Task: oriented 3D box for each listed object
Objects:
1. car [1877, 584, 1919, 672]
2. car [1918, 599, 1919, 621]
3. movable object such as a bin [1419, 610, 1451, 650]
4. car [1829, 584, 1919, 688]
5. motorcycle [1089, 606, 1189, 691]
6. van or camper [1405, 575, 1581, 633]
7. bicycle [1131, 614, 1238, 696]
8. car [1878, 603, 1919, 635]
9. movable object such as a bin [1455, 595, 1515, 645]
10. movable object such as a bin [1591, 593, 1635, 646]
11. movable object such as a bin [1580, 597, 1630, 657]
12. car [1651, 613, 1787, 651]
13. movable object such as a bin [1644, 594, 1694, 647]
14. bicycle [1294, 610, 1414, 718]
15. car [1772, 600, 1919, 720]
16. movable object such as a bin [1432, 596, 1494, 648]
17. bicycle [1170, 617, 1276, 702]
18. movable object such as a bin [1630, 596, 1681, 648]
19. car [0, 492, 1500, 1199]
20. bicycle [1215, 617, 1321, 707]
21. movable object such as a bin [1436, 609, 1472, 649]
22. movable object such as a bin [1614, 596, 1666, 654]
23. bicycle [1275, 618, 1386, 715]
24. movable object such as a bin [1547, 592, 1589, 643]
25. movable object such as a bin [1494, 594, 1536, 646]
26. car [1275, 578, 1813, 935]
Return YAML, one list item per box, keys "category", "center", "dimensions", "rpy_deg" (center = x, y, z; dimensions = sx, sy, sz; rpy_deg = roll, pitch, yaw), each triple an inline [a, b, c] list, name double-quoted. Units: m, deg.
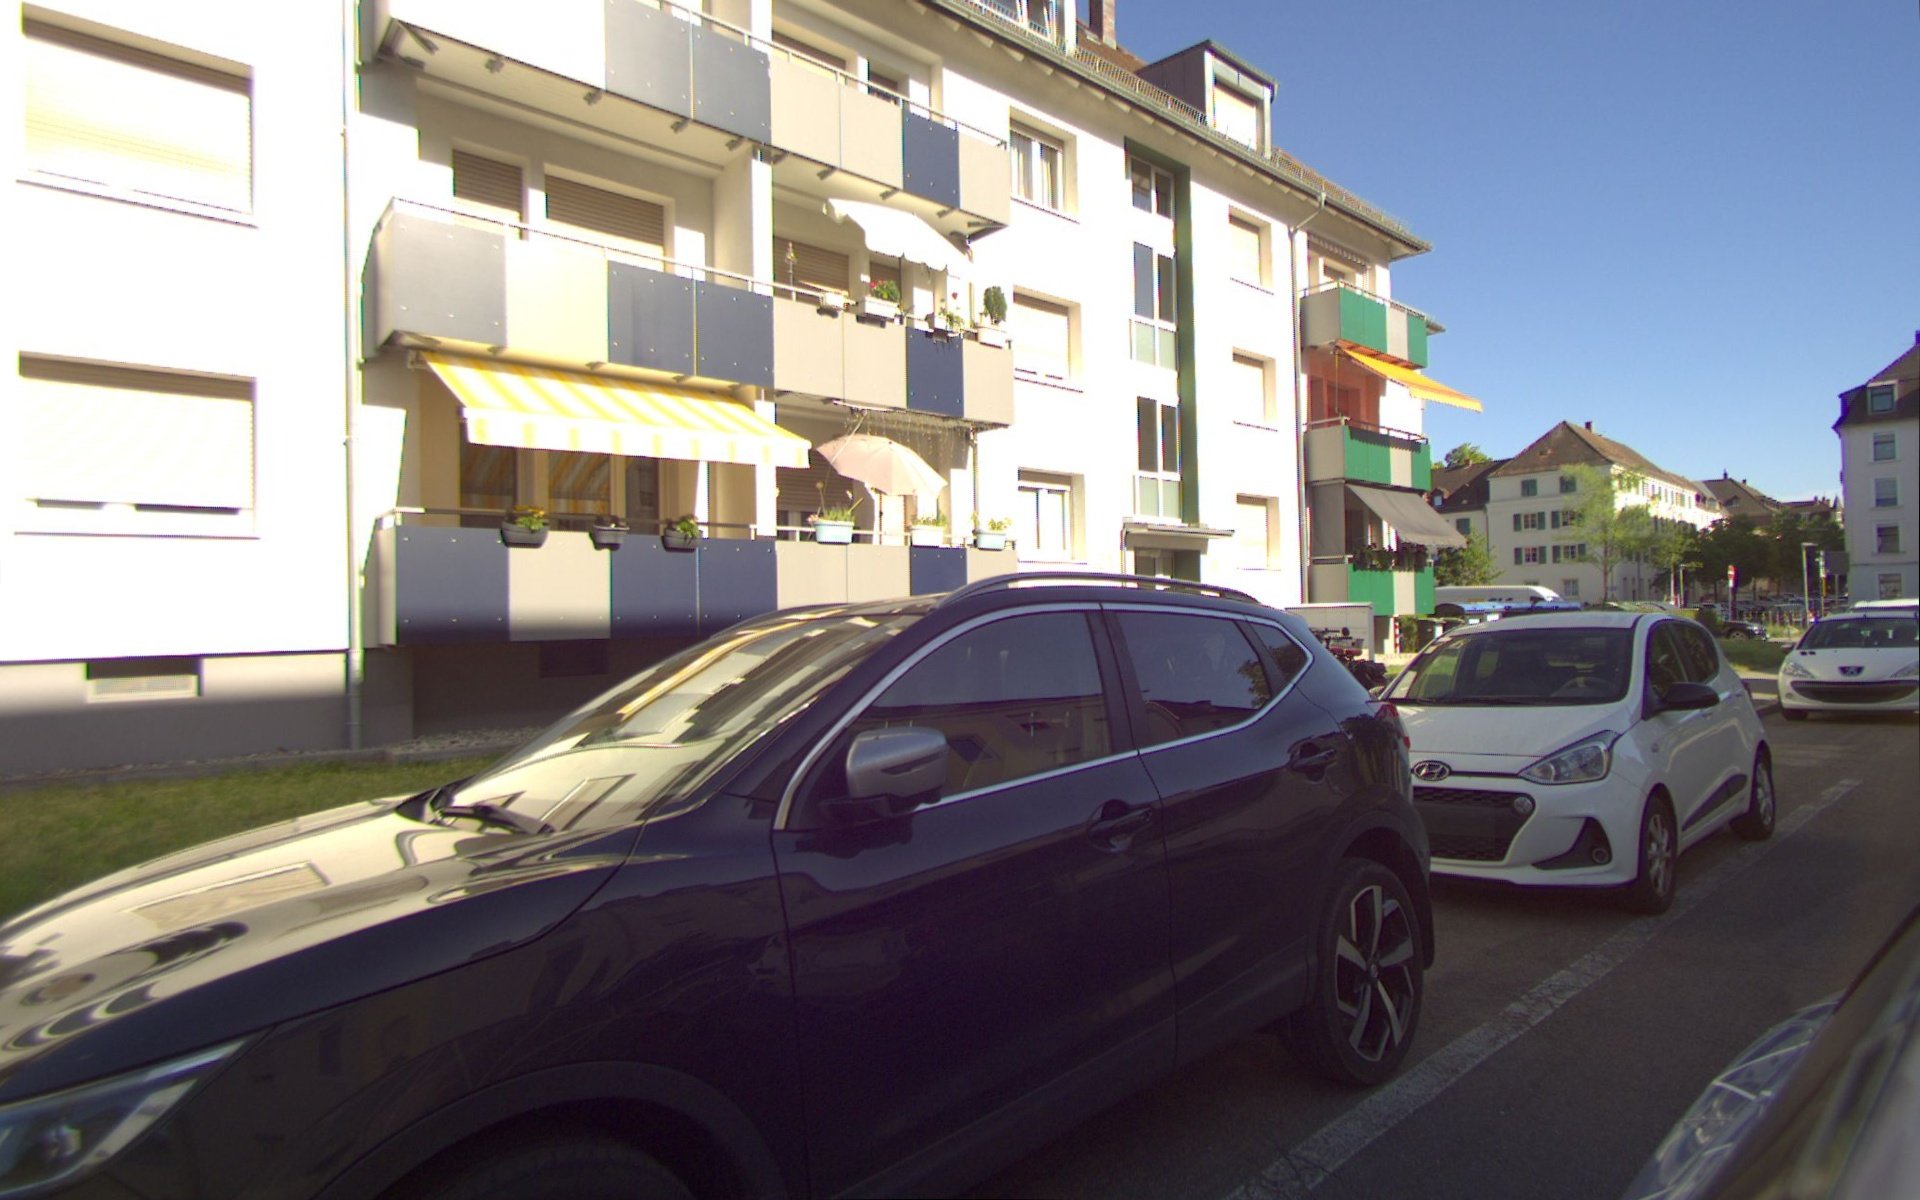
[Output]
- category: "car"
  center: [21.796, 0.534, 22.267]
  dimensions: [4.181, 1.824, 1.852]
  rpy_deg: [0, -5, -42]
- category: "car"
  center: [25.945, 0.696, 25.914]
  dimensions: [3.885, 1.557, 1.725]
  rpy_deg: [0, -4, -43]
- category: "movable object such as a bin"
  center: [13.247, 0.825, 28.210]
  dimensions: [0.570, 1.066, 0.627]
  rpy_deg: [0, 2, -43]
- category: "car"
  center: [16.604, 0.556, 17.468]
  dimensions: [4.503, 1.613, 1.802]
  rpy_deg: [0, -3, -42]
- category: "motorcycle"
  center: [2.851, 0.738, 15.988]
  dimensions: [1.942, 1.254, 0.442]
  rpy_deg: [0, 0, -41]
- category: "van or camper"
  center: [24.714, 0.182, 47.244]
  dimensions: [2.137, 2.532, 6.979]
  rpy_deg: [0, 0, -39]
- category: "bicycle"
  center: [3.365, 0.790, 15.108]
  dimensions: [1.841, 1.130, 0.597]
  rpy_deg: [0, -1, -42]
- category: "car"
  center: [46.484, 0.892, 49.228]
  dimensions: [1.656, 1.459, 3.767]
  rpy_deg: [-1, 0, 26]
- category: "movable object such as a bin"
  center: [15.706, 0.587, 30.276]
  dimensions: [1.257, 1.466, 1.237]
  rpy_deg: [0, -1, -43]
- category: "movable object such as a bin"
  center: [18.540, 0.533, 28.728]
  dimensions: [0.907, 1.466, 0.864]
  rpy_deg: [0, -1, -45]
- category: "movable object such as a bin"
  center: [16.150, 0.655, 25.346]
  dimensions: [0.907, 1.466, 0.864]
  rpy_deg: [0, -1, -45]
- category: "car"
  center: [30.084, 1.233, 40.198]
  dimensions: [1.769, 1.367, 3.996]
  rpy_deg: [0, 0, -39]
- category: "movable object such as a bin"
  center: [19.290, 0.548, 27.538]
  dimensions: [0.852, 1.416, 0.920]
  rpy_deg: [0, -1, -42]
- category: "bicycle"
  center: [4.775, 0.726, 12.205]
  dimensions: [1.839, 1.185, 0.545]
  rpy_deg: [0, 0, -40]
- category: "car"
  center: [12.724, 0.744, 13.949]
  dimensions: [4.027, 1.437, 1.692]
  rpy_deg: [0, -3, -42]
- category: "movable object such as a bin"
  center: [14.619, 0.631, 29.418]
  dimensions: [1.257, 1.466, 1.237]
  rpy_deg: [0, -1, -43]
- category: "bicycle"
  center: [3.791, 0.815, 14.514]
  dimensions: [1.841, 1.096, 0.539]
  rpy_deg: [0, 1, -42]
- category: "movable object such as a bin"
  center: [18.384, 0.583, 26.743]
  dimensions: [0.852, 1.342, 0.920]
  rpy_deg: [0, -1, -42]
- category: "car"
  center: [-0.232, 0.686, 2.839]
  dimensions: [4.278, 1.598, 1.725]
  rpy_deg: [0, 0, -42]
- category: "bicycle"
  center: [4.275, 0.814, 13.984]
  dimensions: [1.841, 1.134, 0.544]
  rpy_deg: [0, 0, -42]
- category: "movable object such as a bin"
  center: [13.916, 0.818, 28.506]
  dimensions: [0.570, 1.066, 0.717]
  rpy_deg: [0, 2, -43]
- category: "movable object such as a bin"
  center: [17.443, 0.632, 25.963]
  dimensions: [0.852, 1.466, 0.920]
  rpy_deg: [0, -1, -43]
- category: "bicycle"
  center: [4.866, 0.825, 13.234]
  dimensions: [1.841, 1.147, 0.578]
  rpy_deg: [0, 0, -42]
- category: "movable object such as a bin"
  center: [17.711, 0.501, 29.478]
  dimensions: [0.907, 1.466, 0.864]
  rpy_deg: [0, -1, -45]
- category: "movable object such as a bin"
  center: [16.840, 0.601, 30.694]
  dimensions: [0.906, 1.539, 0.865]
  rpy_deg: [0, -1, -42]
- category: "car"
  center: [3.783, 0.720, 6.287]
  dimensions: [3.787, 1.529, 1.715]
  rpy_deg: [0, -4, -42]
